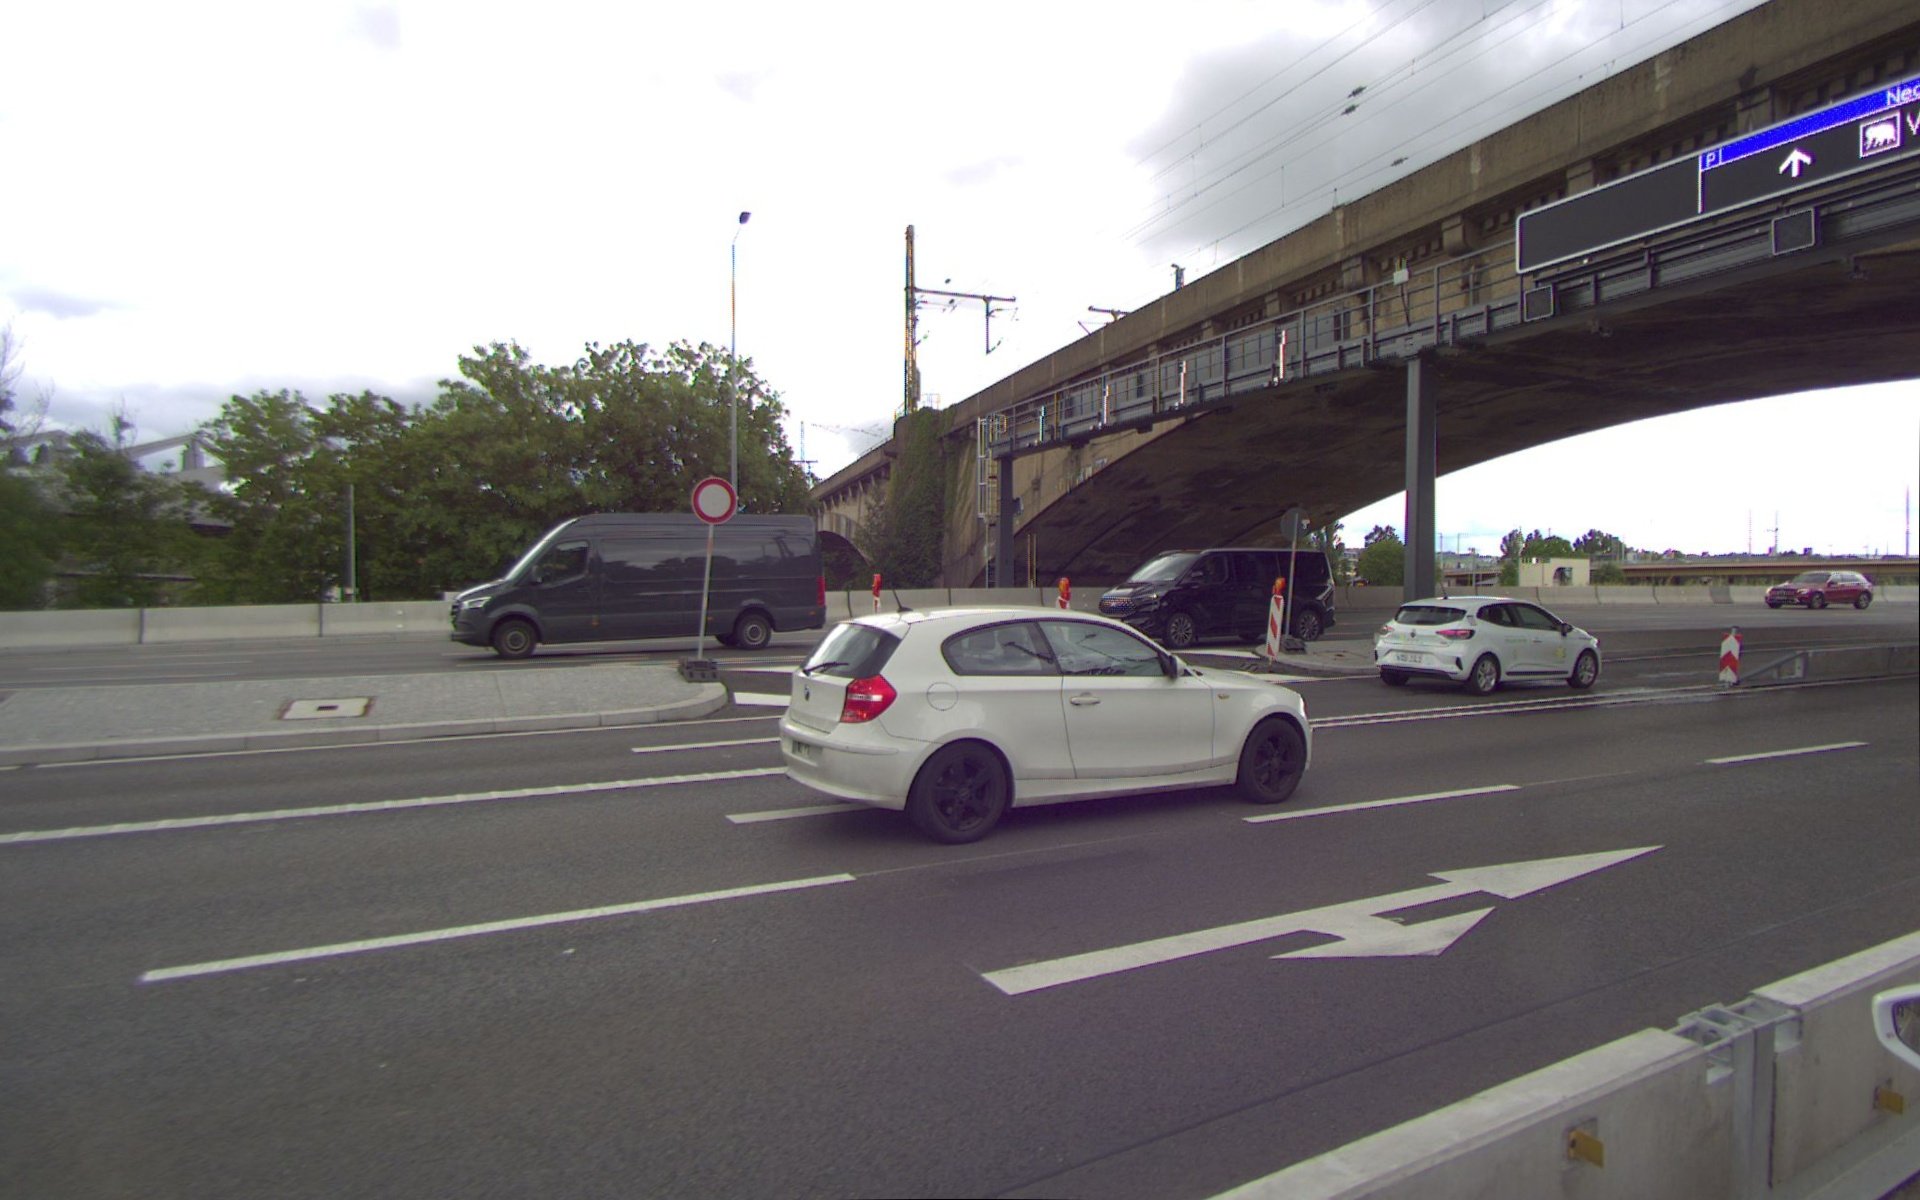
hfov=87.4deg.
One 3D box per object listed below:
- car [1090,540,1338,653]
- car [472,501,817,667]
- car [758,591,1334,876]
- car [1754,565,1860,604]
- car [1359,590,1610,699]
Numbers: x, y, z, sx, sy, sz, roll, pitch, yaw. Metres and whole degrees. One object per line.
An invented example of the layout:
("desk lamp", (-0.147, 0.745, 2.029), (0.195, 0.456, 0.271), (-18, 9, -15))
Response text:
("car", (5.433, -0.182, 21.315), (5.123, 2.041, 1.954), (-3, 5, -28))
("car", (-6.026, -0.356, 19.481), (6.069, 2.814, 2.205), (-1, 2, -29))
("car", (0.685, 0.740, 7.311), (3.932, 1.452, 1.631), (-2, 4, -29))
("car", (37.545, -0.710, 44.534), (3.931, 1.638, 1.697), (-1, 2, -16))
("car", (8.362, 0.631, 15.954), (3.947, 1.504, 1.569), (0, 2, -29))
